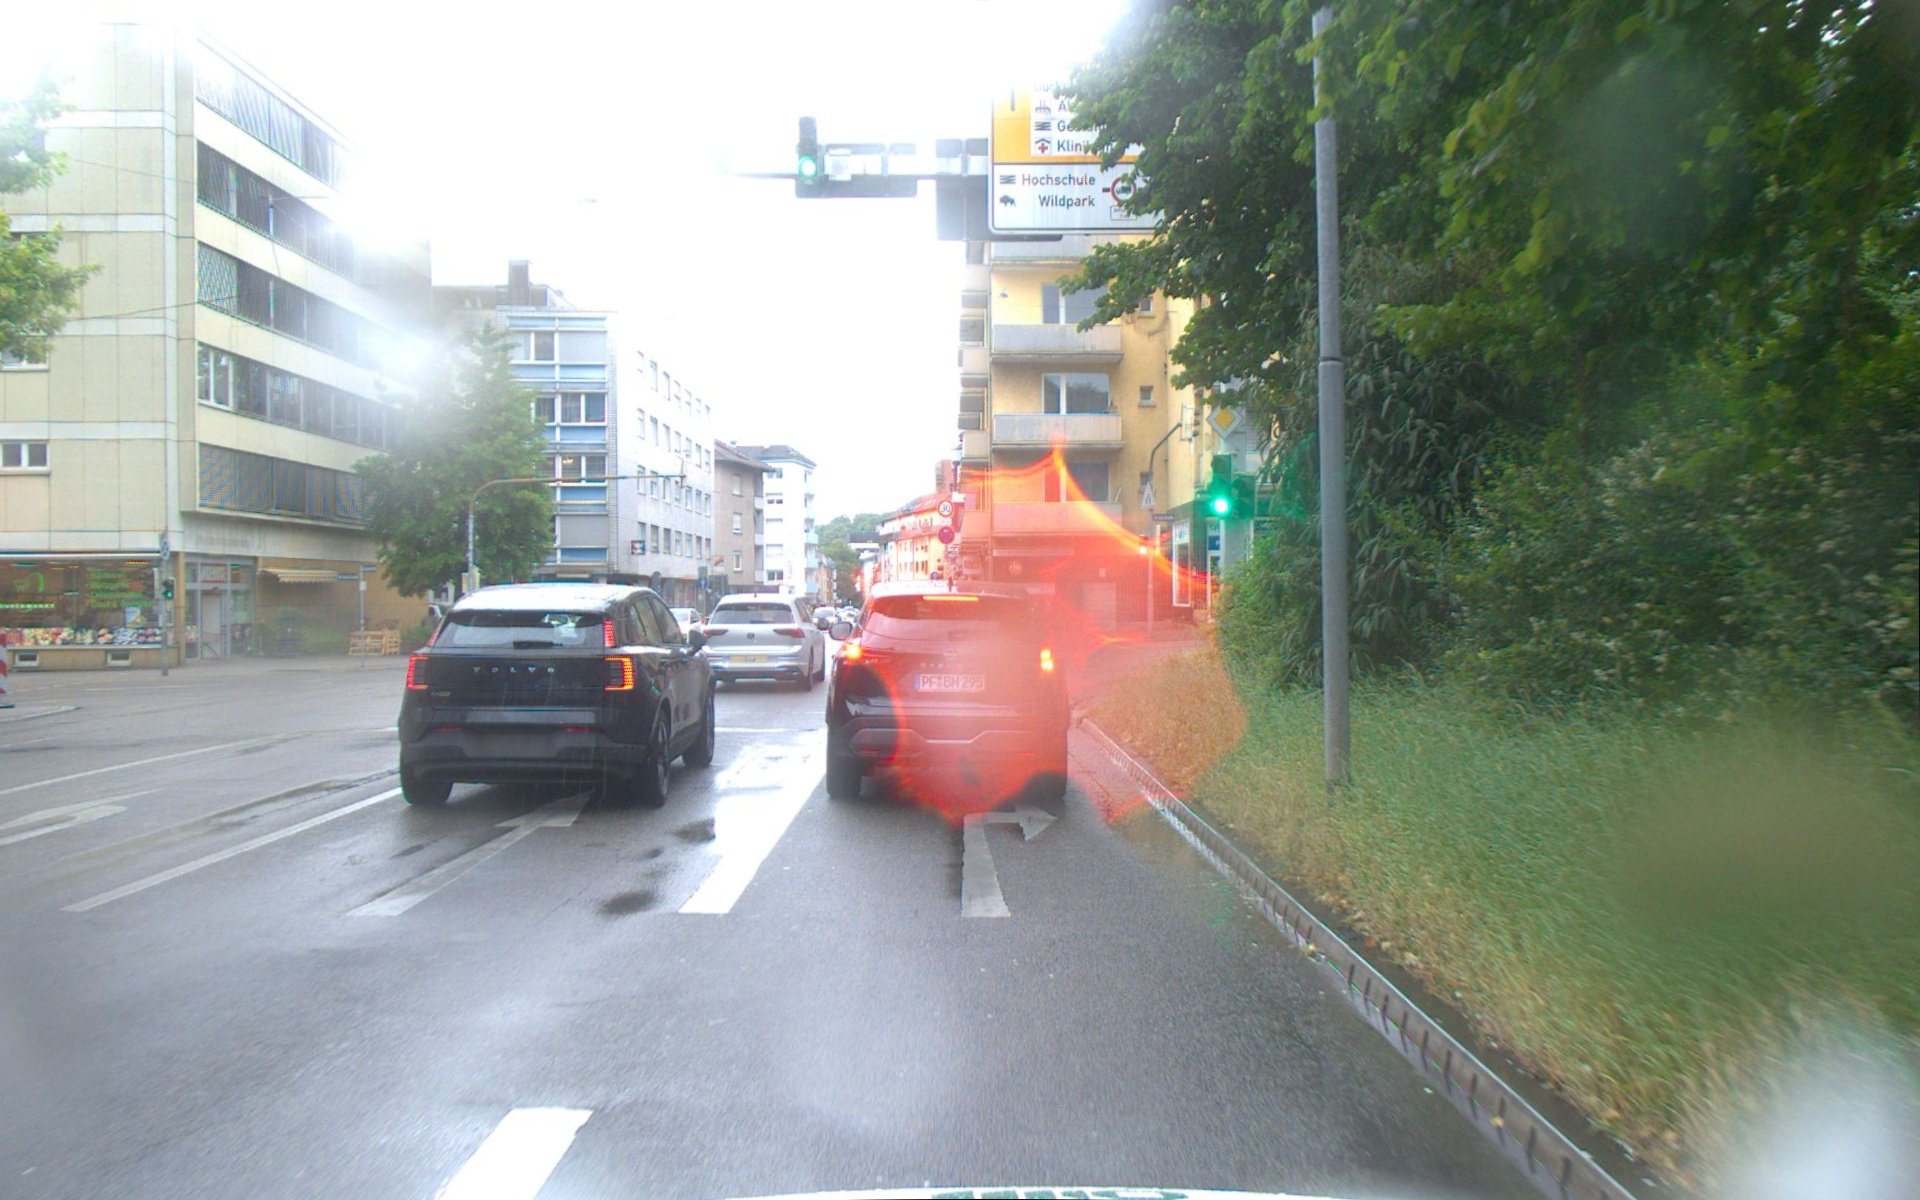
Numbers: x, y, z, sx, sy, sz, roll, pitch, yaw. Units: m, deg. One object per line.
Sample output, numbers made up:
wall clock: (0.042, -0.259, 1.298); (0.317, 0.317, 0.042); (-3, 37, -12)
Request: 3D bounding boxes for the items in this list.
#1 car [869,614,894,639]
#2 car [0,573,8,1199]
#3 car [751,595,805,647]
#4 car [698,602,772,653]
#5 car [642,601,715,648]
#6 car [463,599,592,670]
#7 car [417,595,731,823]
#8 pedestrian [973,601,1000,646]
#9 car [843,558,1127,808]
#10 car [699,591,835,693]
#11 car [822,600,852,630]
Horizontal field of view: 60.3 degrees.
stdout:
car: (-7.021, 2.353, 147.984); (1.953, 2.049, 4.000); (-2, 0, 0)
car: (-2.605, 0.714, 1.064); (1.720, 1.478, 3.999); (-1, 0, -1)
car: (-6.907, 0.776, 63.079); (1.744, 1.847, 4.403); (-2, 0, -3)
car: (-7.297, 0.865, 53.861); (1.750, 1.517, 3.814); (-2, 0, 1)
car: (-10.012, 0.848, 59.088); (1.743, 1.504, 3.794); (-3, 0, 2)
car: (-10.751, 0.819, 41.414); (1.952, 1.520, 4.089); (-4, 0, 1)
car: (-2.742, 0.693, 12.577); (1.580, 1.445, 3.965); (0, 0, -2)
pedestrian: (0.989, 0.888, 61.910); (0.818, 1.584, 0.832); (-6, 0, -2)
car: (0.102, 0.568, 13.374); (1.920, 1.681, 3.998); (1, 0, -2)
car: (-2.982, 0.602, 26.243); (1.731, 1.469, 3.999); (-1, 0, -1)
car: (-8.985, 1.073, 121.305); (1.871, 2.048, 3.999); (-3, 0, -1)
